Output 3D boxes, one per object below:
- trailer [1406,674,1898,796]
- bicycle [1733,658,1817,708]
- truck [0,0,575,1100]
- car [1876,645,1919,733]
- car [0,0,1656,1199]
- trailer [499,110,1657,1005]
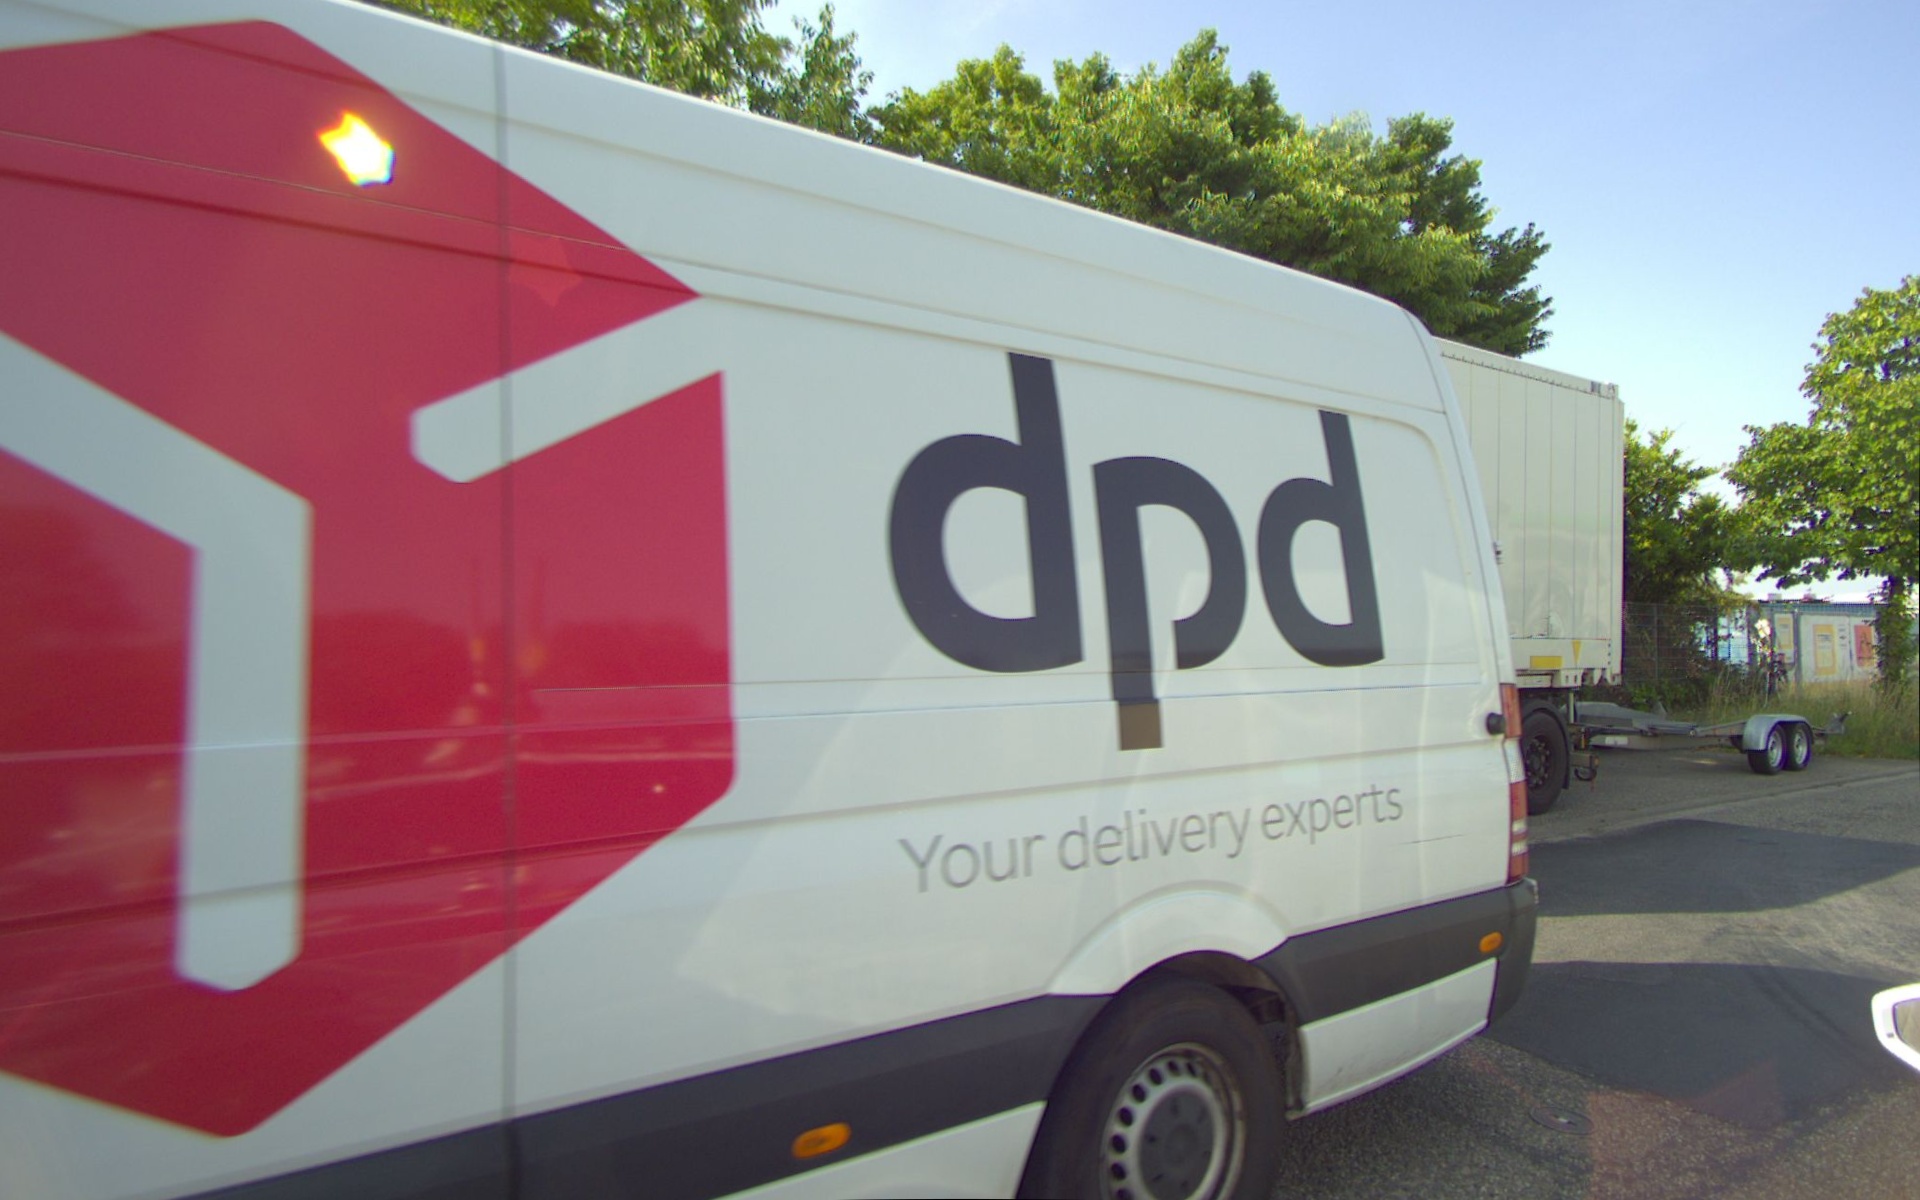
[{"bbox_3d":[8.498,1.466,12.171,6.172,0.998,2.636,1,-4,-31],"label":"trailer"},{"bbox_3d":[17.184,1.728,21.157,2.424,0.985,0.559,1,-3,-32],"label":"bicycle"},{"bbox_3d":[-6.495,-0.269,3.202,9.523,3.935,2.700,1,-2,-30],"label":"truck"},{"bbox_3d":[18.136,1.527,17.740,4.044,1.489,1.680,1,-3,-29],"label":"car"},{"bbox_3d":[-1.523,0.290,1.998,6.907,2.580,1.985,1,-4,-30],"label":"car"},{"bbox_3d":[1.737,-0.079,8.081,9.653,3.935,2.686,1,-2,-31],"label":"trailer"}]
